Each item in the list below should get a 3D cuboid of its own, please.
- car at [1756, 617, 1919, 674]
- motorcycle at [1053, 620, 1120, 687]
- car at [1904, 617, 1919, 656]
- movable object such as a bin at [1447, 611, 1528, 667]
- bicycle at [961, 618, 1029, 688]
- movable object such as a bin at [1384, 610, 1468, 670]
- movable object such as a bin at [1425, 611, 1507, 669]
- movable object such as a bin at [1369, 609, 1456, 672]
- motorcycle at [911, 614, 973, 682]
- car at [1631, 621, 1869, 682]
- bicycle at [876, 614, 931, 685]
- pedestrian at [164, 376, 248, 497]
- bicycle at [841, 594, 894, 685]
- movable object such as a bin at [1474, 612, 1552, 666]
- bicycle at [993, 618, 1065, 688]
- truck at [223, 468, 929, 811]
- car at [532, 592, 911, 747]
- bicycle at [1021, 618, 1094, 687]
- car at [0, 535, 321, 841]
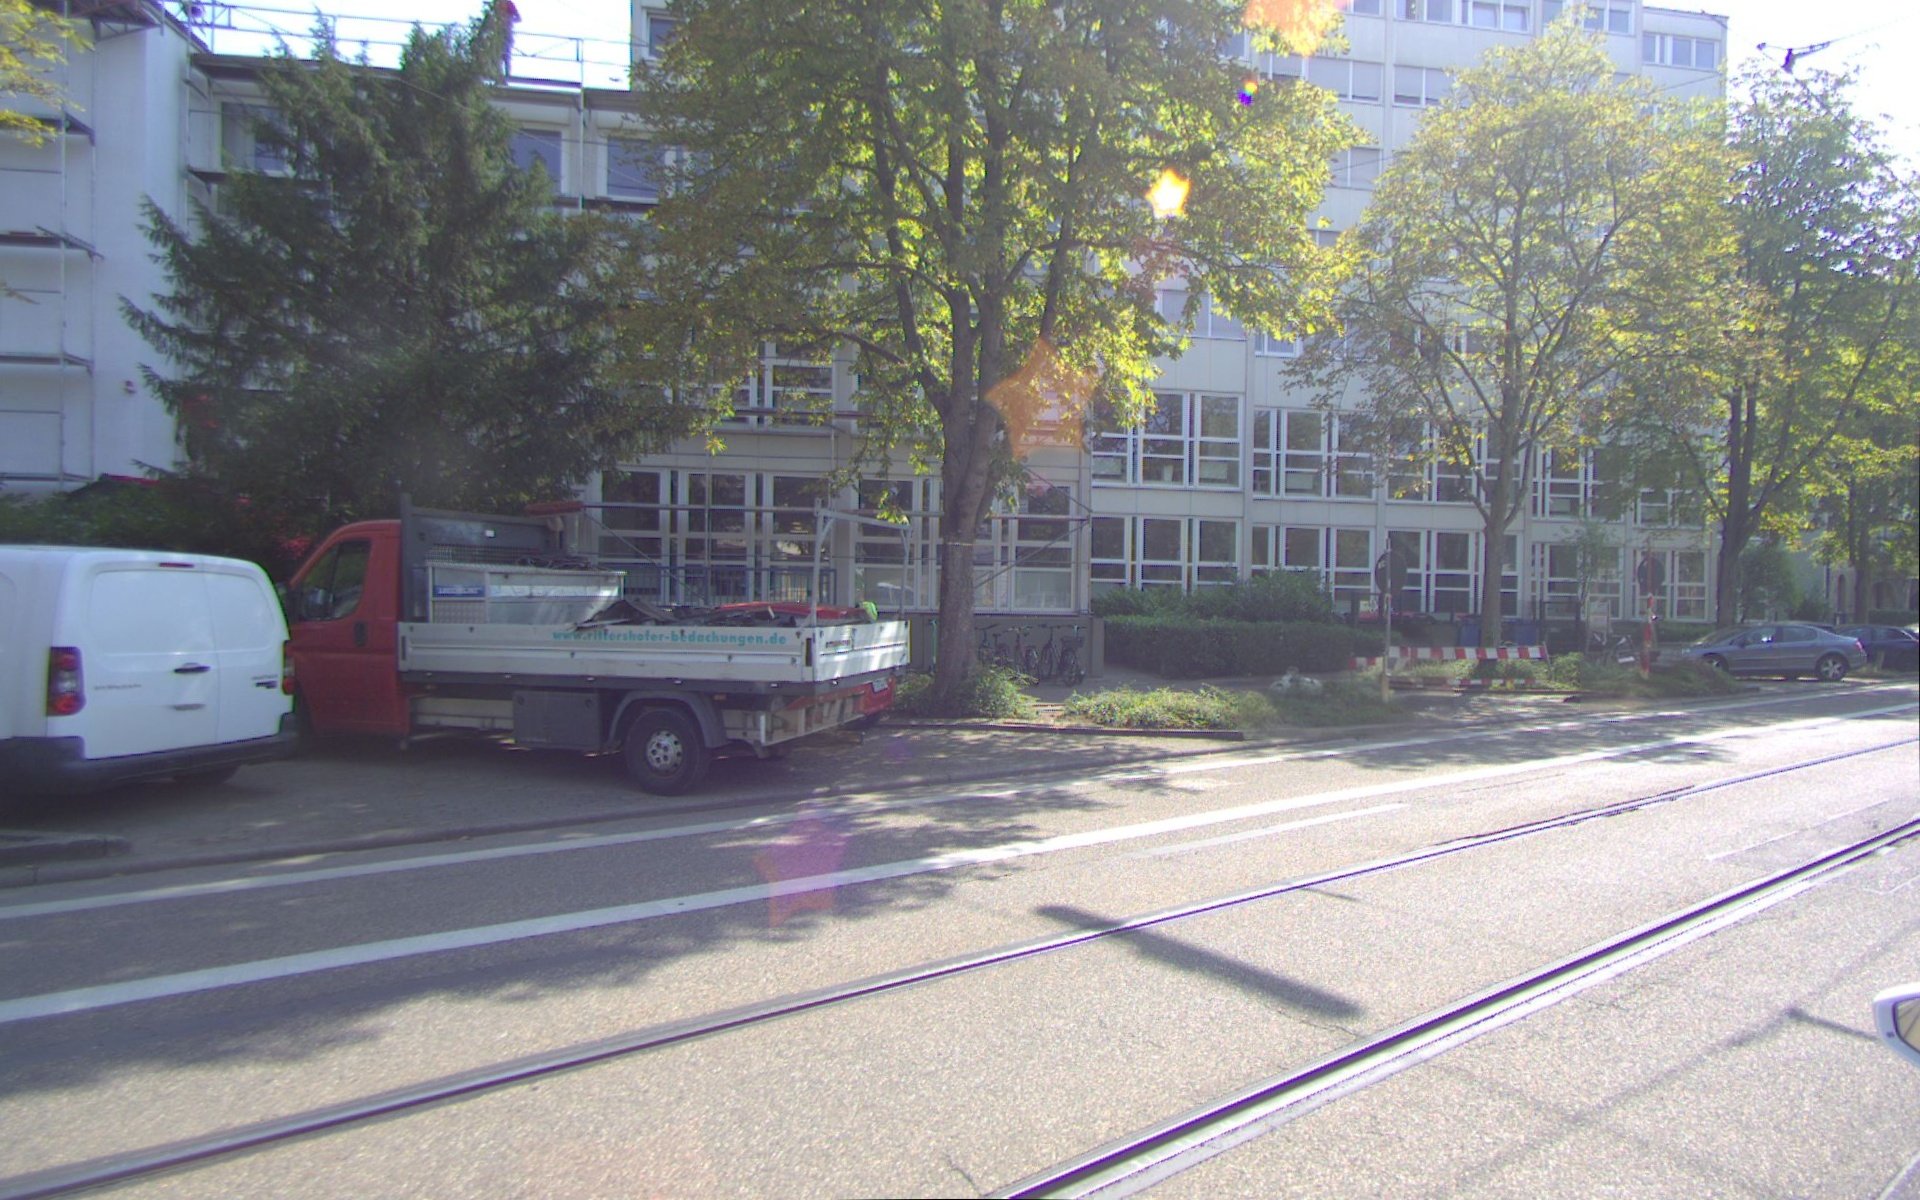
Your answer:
[{"bbox_3d":[27.410,1.385,31.435,3.514,1.595,1.677,2,0,14],"label":"car"},{"bbox_3d":[2.540,1.061,20.427,0.683,1.198,1.840,2,1,-14],"label":"motorcycle"},{"bbox_3d":[41.347,1.558,41.115,3.514,1.595,1.677,2,0,14],"label":"car"},{"bbox_3d":[15.538,1.138,29.609,1.341,1.580,1.671,1,-1,-35],"label":"movable object such as a bin"},{"bbox_3d":[0.652,1.007,19.691,0.612,1.185,2.338,2,1,-16],"label":"bicycle"},{"bbox_3d":[12.901,1.088,27.849,1.341,1.580,1.671,1,-1,-35],"label":"movable object such as a bin"},{"bbox_3d":[14.379,1.108,28.574,1.341,1.580,1.671,1,-1,-35],"label":"movable object such as a bin"},{"bbox_3d":[11.991,1.048,26.658,1.341,1.580,1.671,1,-1,-35],"label":"movable object such as a bin"},{"bbox_3d":[-0.375,0.908,19.512,0.731,1.170,2.000,2,1,-14],"label":"motorcycle"},{"bbox_3d":[20.186,1.282,25.843,4.593,1.471,1.678,0,0,9],"label":"car"},{"bbox_3d":[-1.104,0.907,19.162,0.592,1.185,2.339,2,1,-14],"label":"bicycle"},{"bbox_3d":[-11.996,-2.576,16.004,0.837,1.749,0.749,1,0,-18],"label":"pedestrian"},{"bbox_3d":[-1.774,0.703,18.976,0.592,1.546,2.339,2,1,-14],"label":"bicycle"},{"bbox_3d":[16.745,1.169,30.434,1.341,1.580,1.671,1,-1,-35],"label":"movable object such as a bin"},{"bbox_3d":[1.326,1.016,19.925,0.612,1.185,2.337,2,1,-17],"label":"bicycle"},{"bbox_3d":[-3.419,0.229,9.122,5.849,2.467,2.151,1,0,17],"label":"truck"},{"bbox_3d":[-2.619,0.714,11.387,3.782,1.528,1.722,1,-1,12],"label":"car"},{"bbox_3d":[1.917,1.016,20.133,0.553,1.185,2.337,2,1,-17],"label":"bicycle"},{"bbox_3d":[-7.146,0.500,7.259,4.198,1.795,1.826,1,0,13],"label":"car"}]
